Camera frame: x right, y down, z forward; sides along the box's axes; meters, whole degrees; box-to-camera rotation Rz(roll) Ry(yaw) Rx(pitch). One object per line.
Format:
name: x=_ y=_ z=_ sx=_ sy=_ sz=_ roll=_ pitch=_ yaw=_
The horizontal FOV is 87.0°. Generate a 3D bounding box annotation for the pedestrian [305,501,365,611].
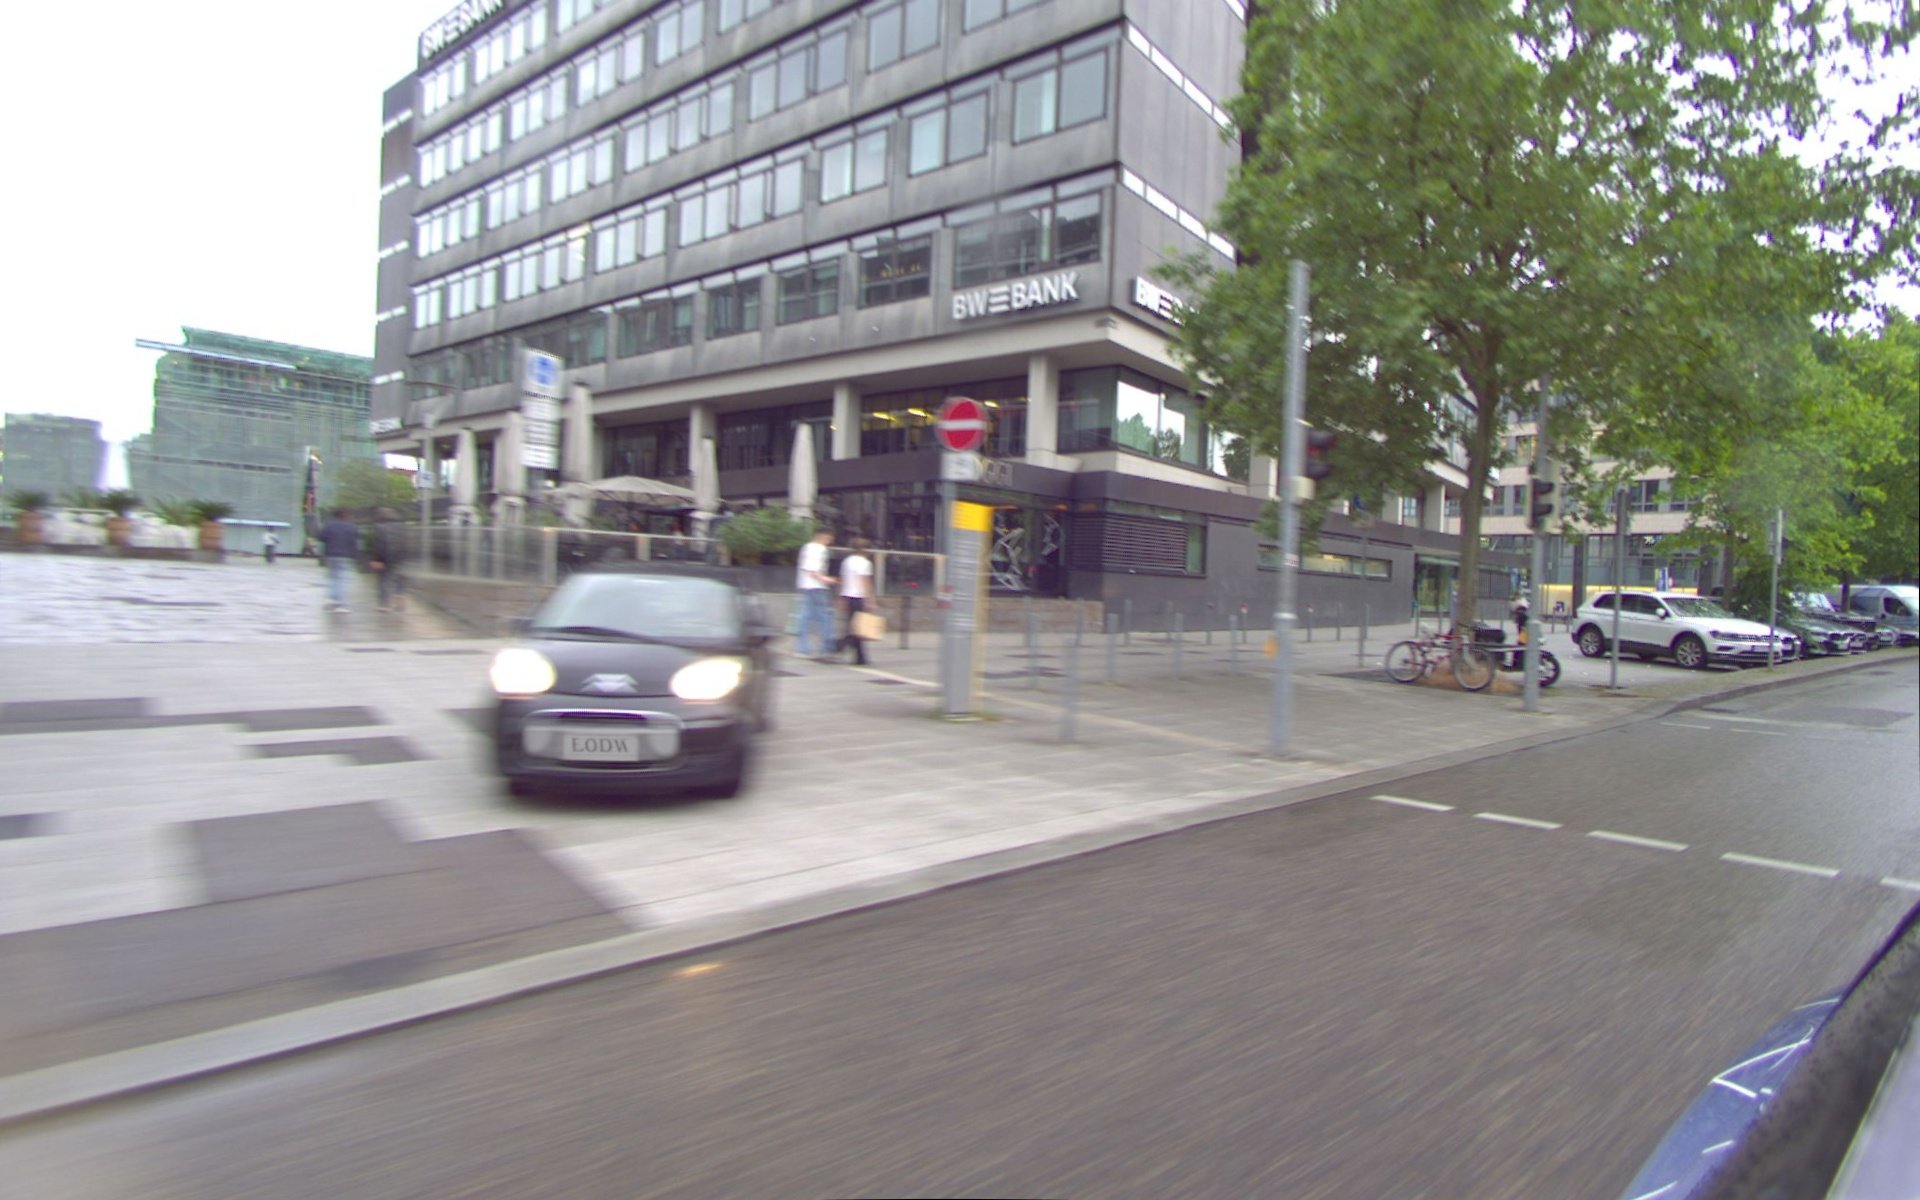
pedestrian: x=-10.280 y=-0.706 z=16.645 sx=0.766 sy=1.747 sz=0.645 roll=1 pitch=0 yaw=-35

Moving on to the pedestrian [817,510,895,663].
pedestrian: x=-1.472 y=-0.187 z=14.255 sx=0.738 sy=2.064 sz=0.853 roll=1 pitch=0 yaw=-33

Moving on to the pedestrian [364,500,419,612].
pedestrian: x=-9.649 y=-0.735 z=17.177 sx=0.670 sy=1.846 sz=0.650 roll=1 pitch=0 yaw=-41

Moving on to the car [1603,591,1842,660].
car: x=18.604 y=0.560 z=25.024 sx=1.877 sy=1.492 sz=4.730 roll=1 pitch=1 yaw=-8

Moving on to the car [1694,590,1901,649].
car: x=24.400 y=0.517 z=29.728 sx=1.876 sy=1.557 sz=4.400 roll=1 pitch=1 yaw=-13

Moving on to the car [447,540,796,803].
car: x=-2.176 y=0.360 z=7.524 sx=1.602 sy=1.434 sz=3.839 roll=1 pitch=1 yaw=-5

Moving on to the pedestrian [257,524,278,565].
pedestrian: x=-32.480 y=-2.601 z=47.457 sx=0.575 sy=1.862 sz=0.648 roll=2 pitch=1 yaw=39

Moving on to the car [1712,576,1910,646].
car: x=26.454 y=0.290 z=31.692 sx=1.882 sy=2.018 sz=4.527 roll=1 pitch=1 yaw=-11

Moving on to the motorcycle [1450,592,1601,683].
motorcycle: x=9.262 y=0.577 z=16.670 sx=0.664 sy=1.374 sz=2.091 roll=1 pitch=0 yaw=-32

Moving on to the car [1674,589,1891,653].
car: x=22.418 y=0.511 z=27.832 sx=1.876 sy=1.557 sz=4.367 roll=1 pitch=1 yaw=-13

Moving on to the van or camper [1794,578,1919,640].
van or camper: x=39.218 y=0.336 z=42.632 sx=2.267 sy=2.478 sz=6.277 roll=1 pitch=1 yaw=-10

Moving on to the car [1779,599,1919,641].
car: x=34.361 y=0.738 z=39.112 sx=1.673 sy=1.442 sz=4.069 roll=1 pitch=1 yaw=-11

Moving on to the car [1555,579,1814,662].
car: x=16.211 y=0.387 z=23.041 sx=1.877 sy=1.671 sz=4.813 roll=1 pitch=1 yaw=-10

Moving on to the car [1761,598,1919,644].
car: x=30.912 y=0.713 z=35.672 sx=1.673 sy=1.442 sz=4.021 roll=1 pitch=1 yaw=-11

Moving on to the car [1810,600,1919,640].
car: x=36.546 y=0.783 z=40.200 sx=1.673 sy=1.442 sz=4.069 roll=1 pitch=1 yaw=-11

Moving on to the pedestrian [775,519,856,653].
pedestrian: x=-2.119 y=-0.197 z=14.823 sx=0.881 sy=1.892 sz=0.804 roll=1 pitch=0 yaw=-33
